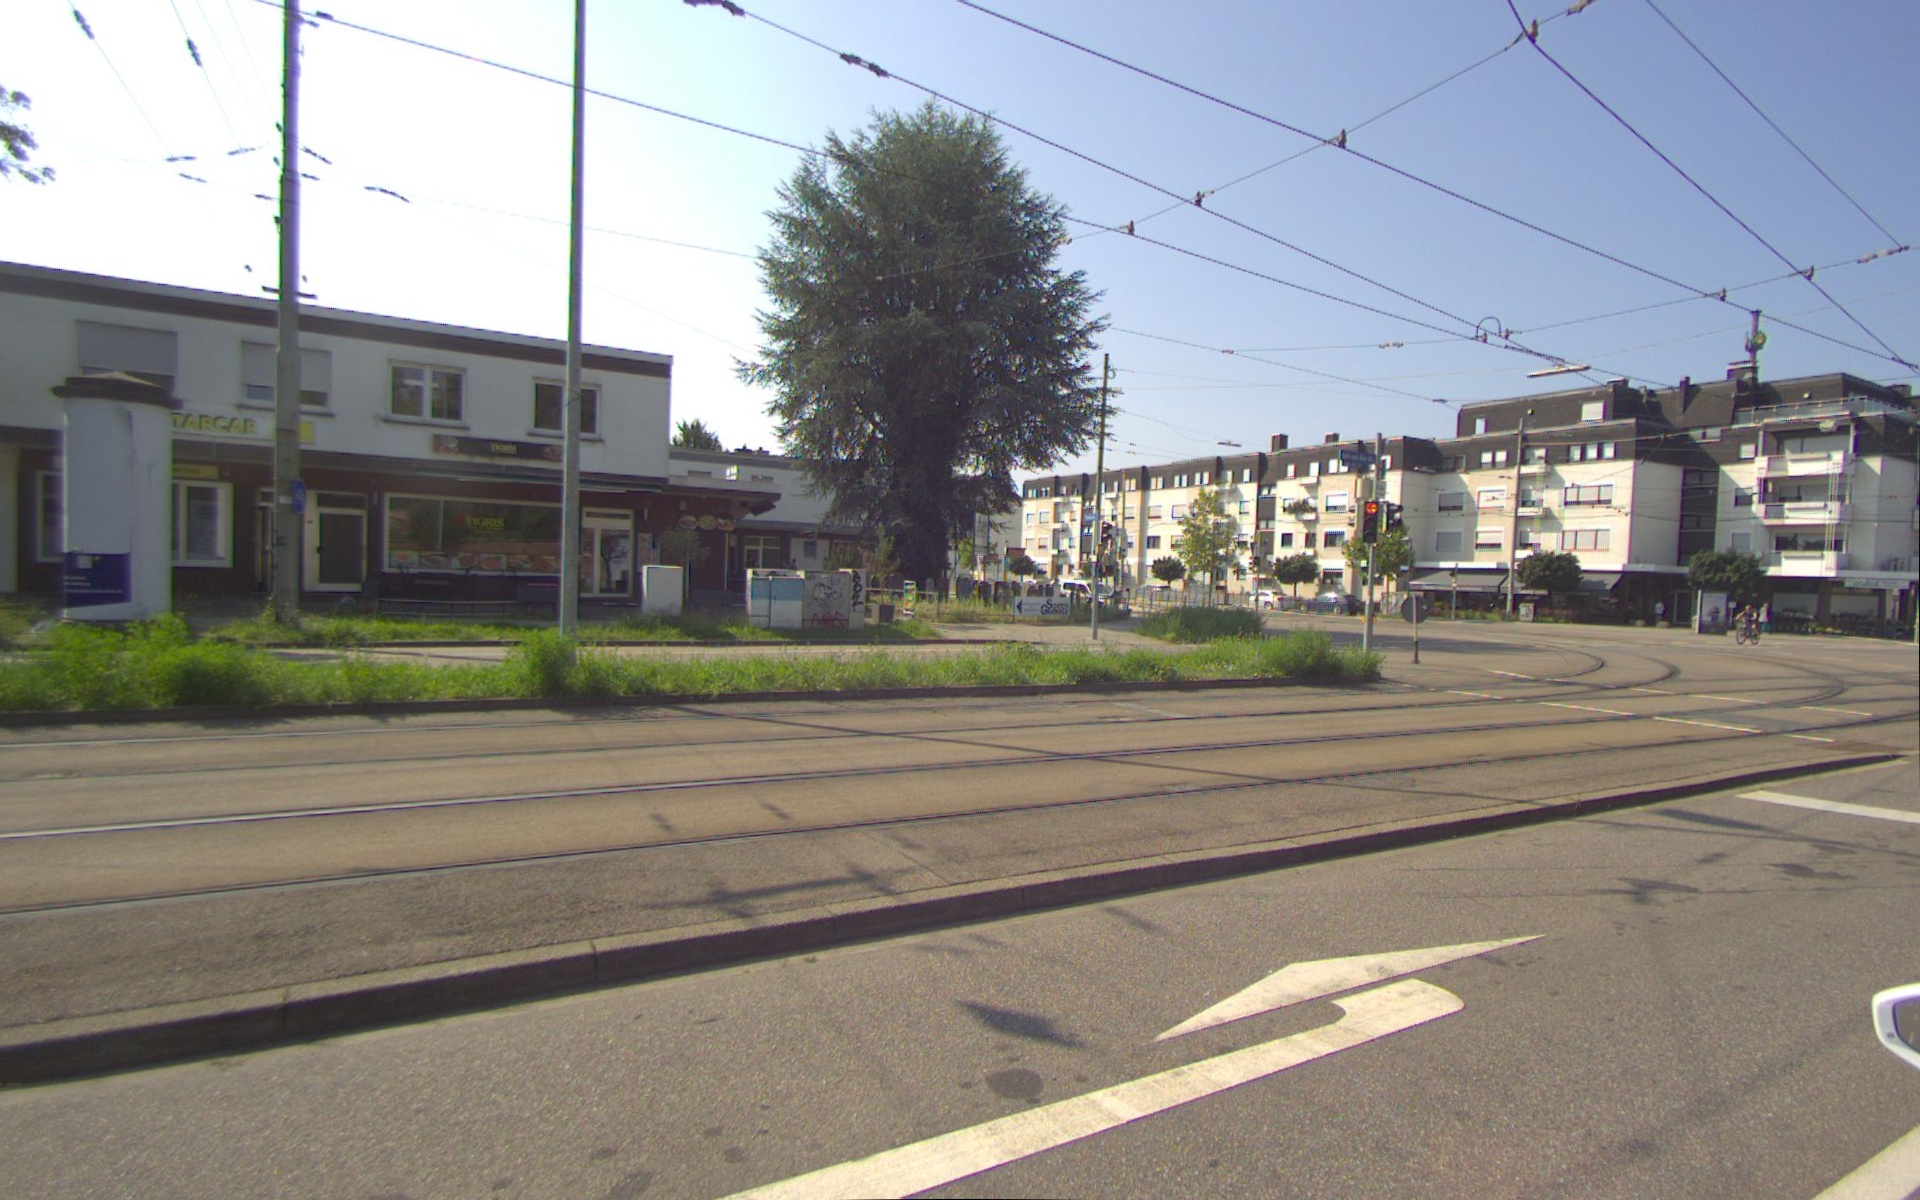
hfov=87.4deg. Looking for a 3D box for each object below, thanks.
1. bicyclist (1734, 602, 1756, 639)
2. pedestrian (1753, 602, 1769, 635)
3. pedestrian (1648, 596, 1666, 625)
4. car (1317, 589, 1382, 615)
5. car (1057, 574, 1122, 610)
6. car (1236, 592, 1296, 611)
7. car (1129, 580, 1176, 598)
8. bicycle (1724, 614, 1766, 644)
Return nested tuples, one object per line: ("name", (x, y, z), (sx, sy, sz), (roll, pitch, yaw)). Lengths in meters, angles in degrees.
("bicyclist", (32.879, 0.860, 42.058), (0.484, 1.543, 0.566), (2, 0, -28))
("pedestrian", (44.607, 1.027, 55.944), (0.589, 1.768, 0.565), (2, 0, 27))
("pedestrian", (42.911, 0.618, 61.837), (0.689, 1.764, 0.676), (2, 0, -29))
("car", (28.405, 0.136, 73.427), (1.907, 1.527, 4.088), (2, 3, -30))
("car", (7.647, -0.522, 59.590), (1.800, 1.912, 3.997), (1, 2, -28))
("car", (22.132, 0.083, 72.742), (1.653, 1.317, 4.089), (2, 0, -30))
("car", (16.073, -0.917, 84.004), (1.653, 1.501, 3.886), (2, 0, -30))
("bicycle", (32.879, 1.211, 42.068), (2.180, 1.195, 0.572), (1, 0, -29))
